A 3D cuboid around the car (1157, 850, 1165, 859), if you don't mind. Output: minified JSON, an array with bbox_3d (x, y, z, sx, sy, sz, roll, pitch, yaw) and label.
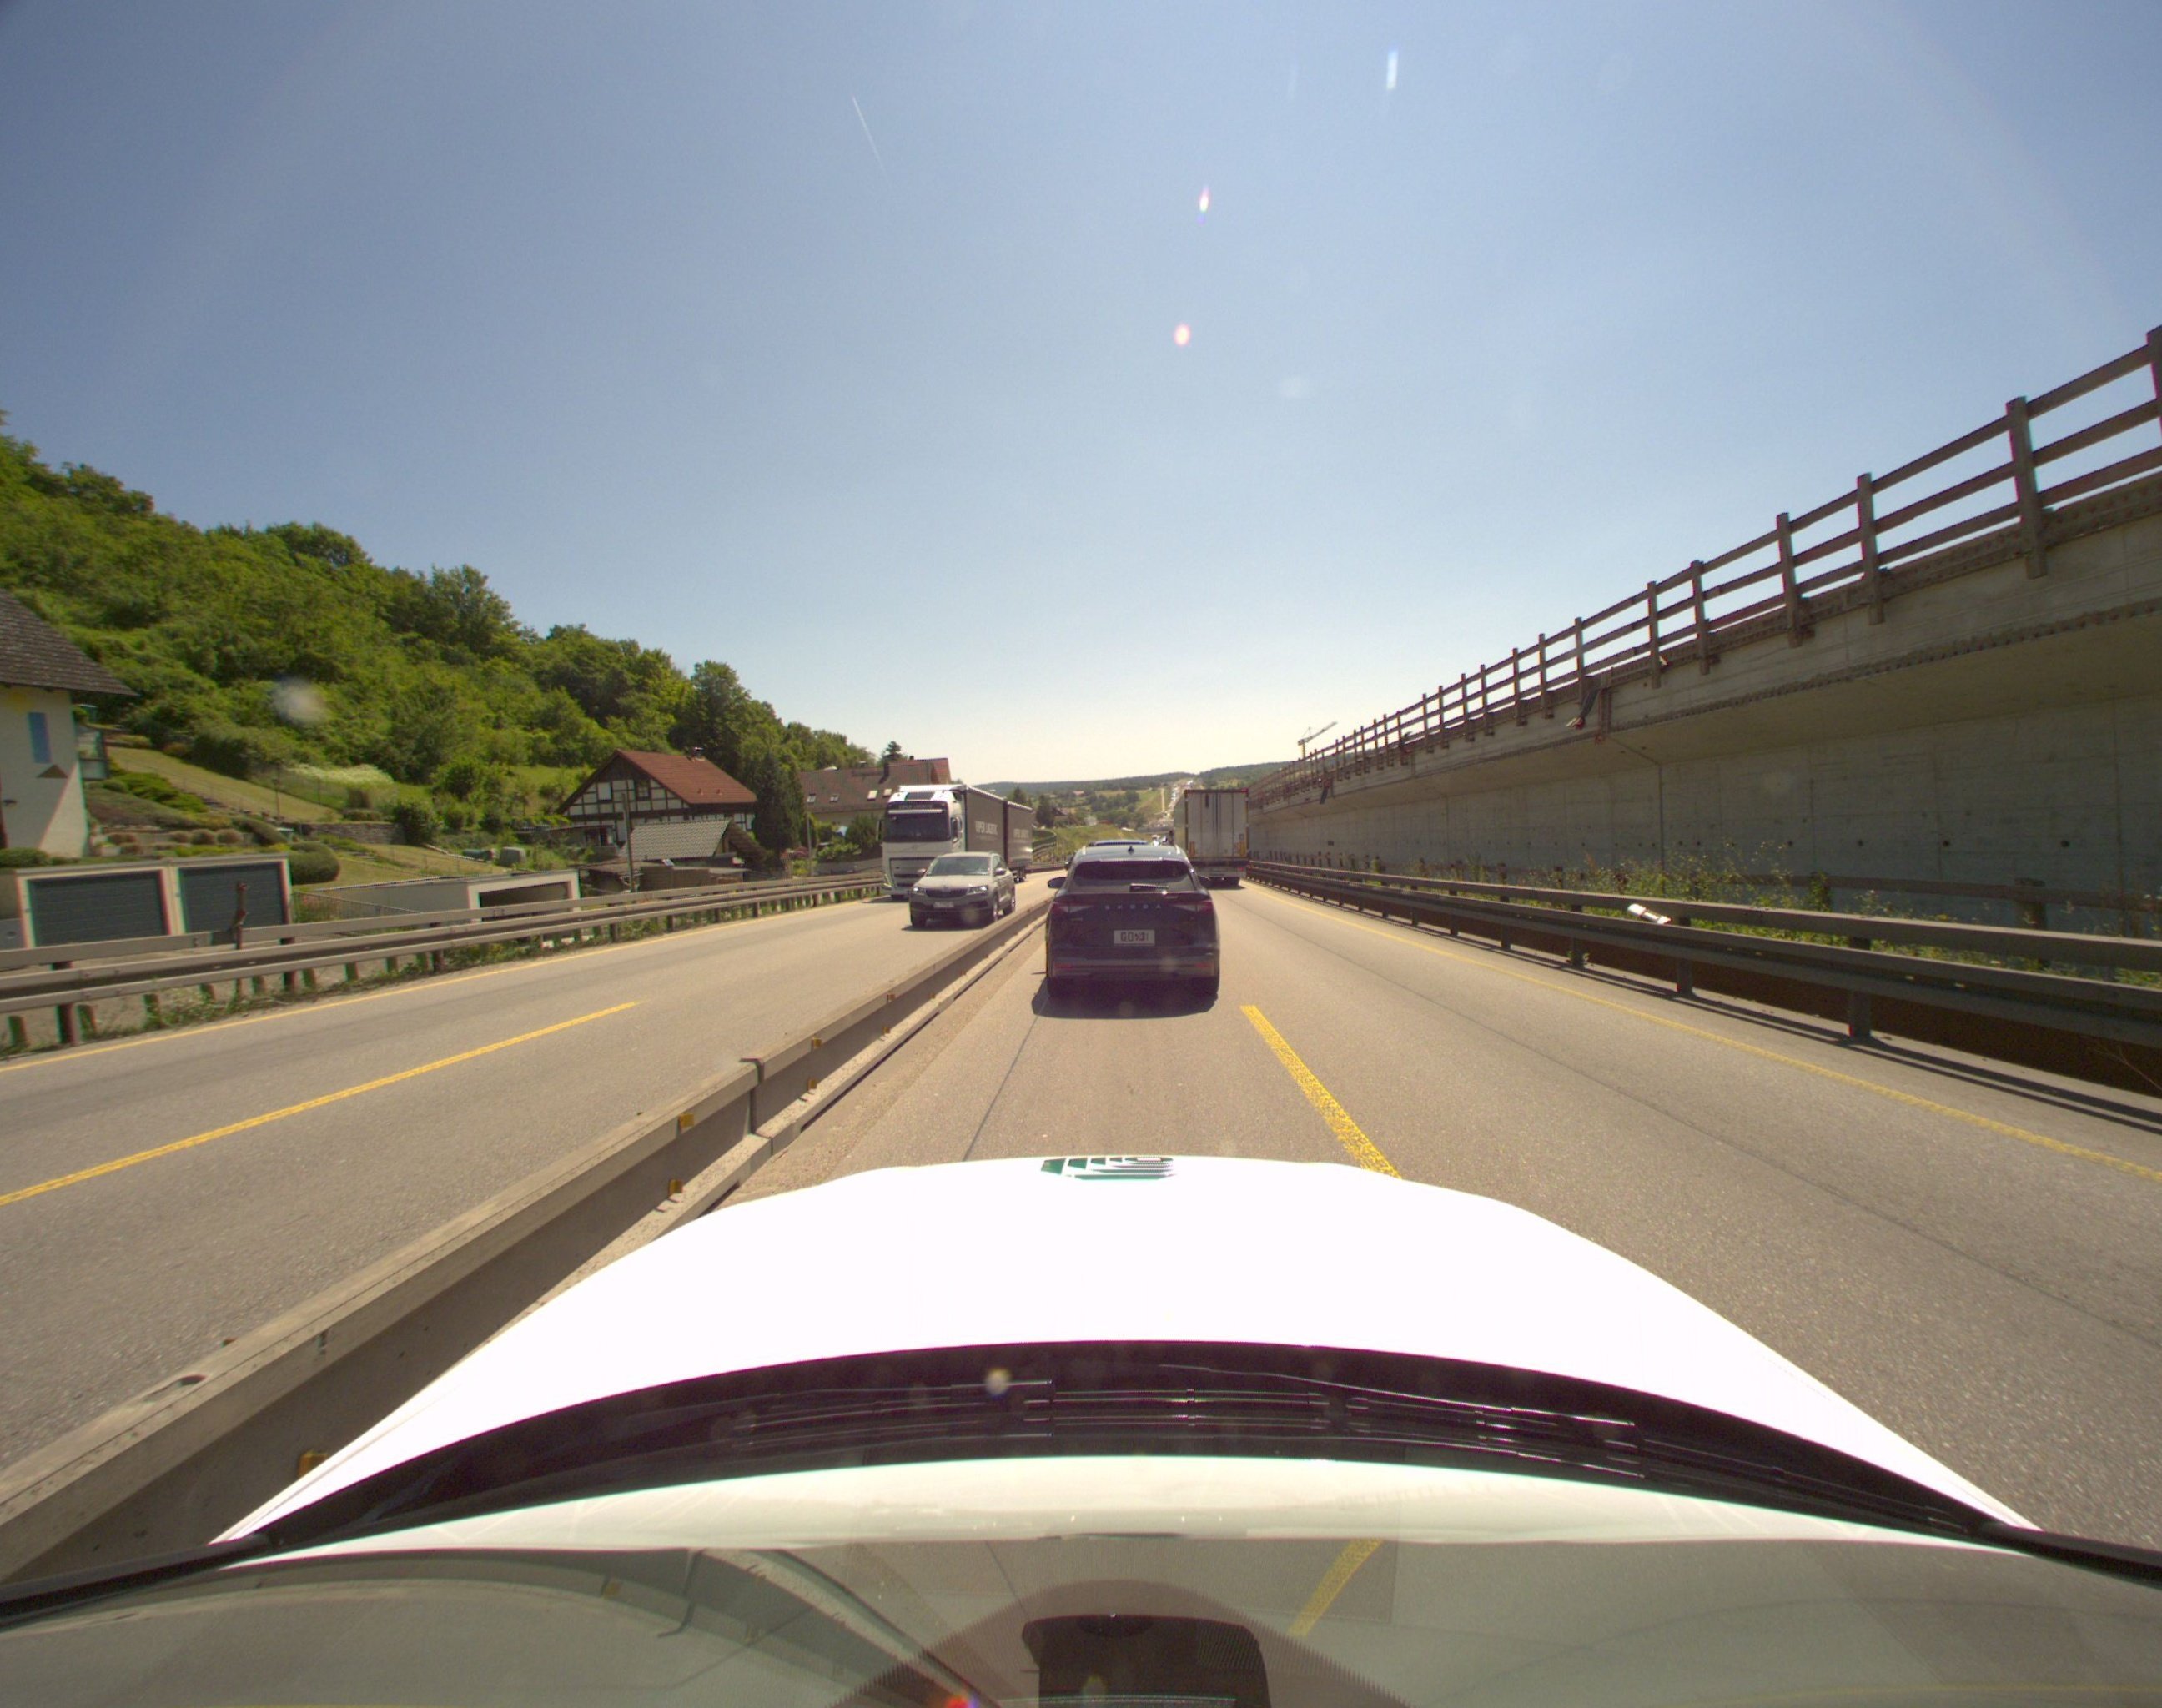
[{"bbox_3d":[16.979,0.103,172.624,1.692,1.728,3.843,-1,-1,6],"label":"car"}]

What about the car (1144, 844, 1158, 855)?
[{"bbox_3d":[10.938,-0.712,127.570,1.985,1.585,3.838,-1,-1,2],"label":"car"}]

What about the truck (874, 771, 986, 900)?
[{"bbox_3d":[-5.341,-0.614,29.637,2.739,4.283,4.963,-1,0,5],"label":"truck"}]

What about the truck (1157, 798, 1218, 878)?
[{"bbox_3d":[5.753,-0.741,45.155,2.504,4.025,8.241,-1,-1,2],"label":"truck"}]

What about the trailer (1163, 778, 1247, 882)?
[{"bbox_3d":[5.533,-0.868,38.267,2.522,4.127,11.551,-1,-1,2],"label":"trailer"}]

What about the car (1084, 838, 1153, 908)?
[{"bbox_3d":[1.017,0.484,23.952,1.702,1.881,3.997,0,1,-2],"label":"car"}]

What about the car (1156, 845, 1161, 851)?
[{"bbox_3d":[24.469,-1.829,257.399,1.692,1.728,3.843,-1,-1,6],"label":"car"}]

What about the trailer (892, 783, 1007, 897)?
[{"bbox_3d":[-5.094,-0.552,33.229,2.744,4.070,8.018,-1,1,4],"label":"trailer"}]

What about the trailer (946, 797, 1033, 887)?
[{"bbox_3d":[-4.423,-0.596,41.538,2.744,4.070,8.646,-1,1,5],"label":"trailer"}]

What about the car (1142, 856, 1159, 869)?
[{"bbox_3d":[9.141,1.111,107.178,1.985,1.585,3.838,-1,-1,2],"label":"car"}]

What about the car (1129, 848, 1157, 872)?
[{"bbox_3d":[4.244,0.375,56.363,1.700,1.622,4.002,0,1,1],"label":"car"}]

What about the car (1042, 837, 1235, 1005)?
[{"bbox_3d":[0.487,0.666,9.739,1.838,1.586,3.904,0,-1,-2],"label":"car"}]

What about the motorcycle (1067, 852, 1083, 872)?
[{"bbox_3d":[-0.334,0.439,45.977,0.783,1.080,1.914,-1,0,3],"label":"motorcycle"}]

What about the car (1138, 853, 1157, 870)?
[{"bbox_3d":[6.771,0.732,83.319,1.700,1.622,4.002,0,1,1],"label":"car"}]

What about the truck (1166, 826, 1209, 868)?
[{"bbox_3d":[8.977,-0.461,70.056,3.180,3.191,12.826,-1,-1,5],"label":"truck"}]

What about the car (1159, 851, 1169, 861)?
[{"bbox_3d":[15.468,0.326,151.316,1.692,1.728,3.843,-1,-1,6],"label":"car"}]

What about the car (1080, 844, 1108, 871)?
[{"bbox_3d":[1.052,0.292,62.240,2.014,1.960,4.901,-1,-1,3],"label":"car"}]

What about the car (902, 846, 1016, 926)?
[{"bbox_3d":[-2.635,0.677,18.562,1.852,1.611,4.070,-1,-1,2],"label":"car"}]

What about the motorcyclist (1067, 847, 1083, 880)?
[{"bbox_3d":[-0.349,0.517,45.806,0.850,1.855,0.984,-1,0,2],"label":"motorcyclist"}]
